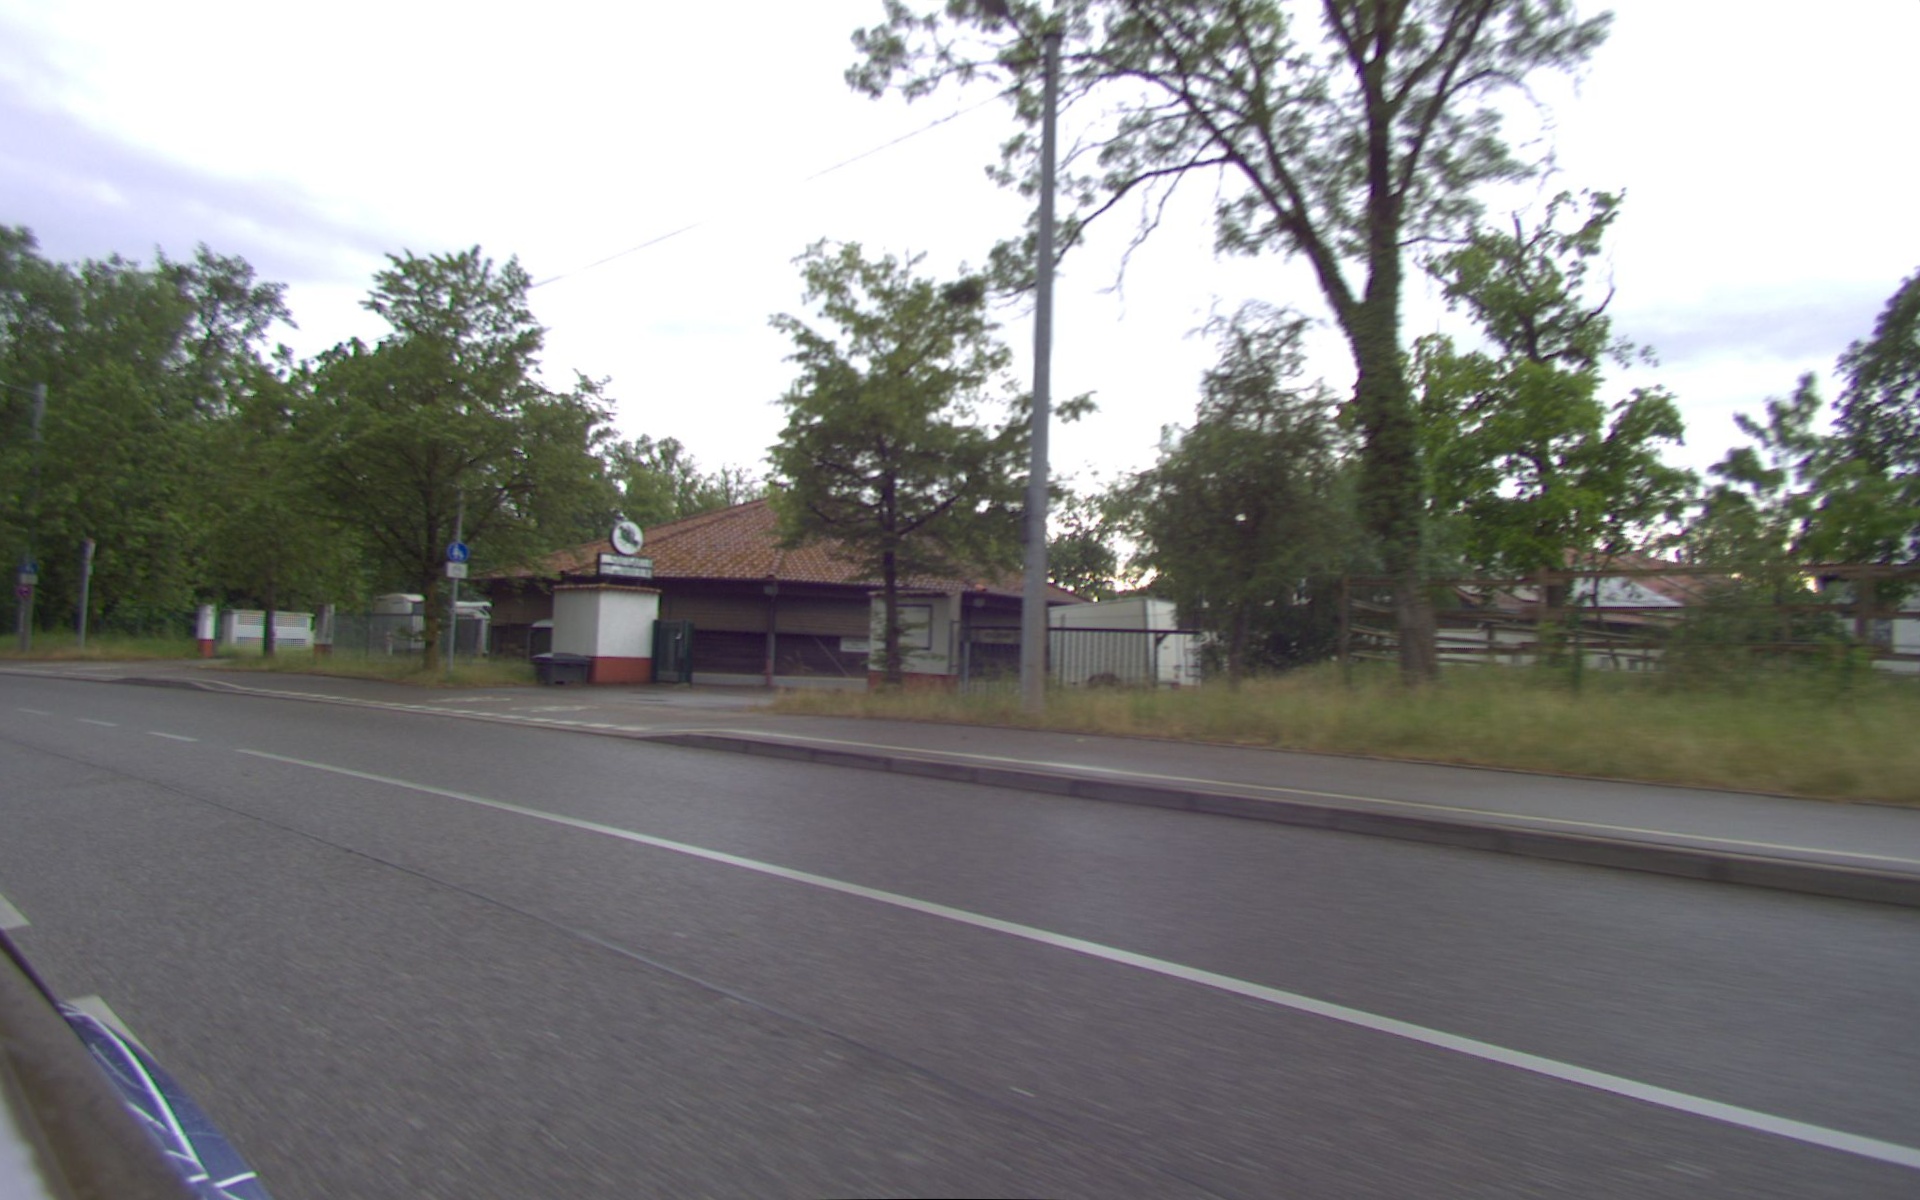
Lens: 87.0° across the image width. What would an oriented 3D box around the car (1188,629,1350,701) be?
[{"bbox_3d":[8.052,1.664,26.332,3.932,1.724,1.938,3,-2,-33],"label":"car"}]
